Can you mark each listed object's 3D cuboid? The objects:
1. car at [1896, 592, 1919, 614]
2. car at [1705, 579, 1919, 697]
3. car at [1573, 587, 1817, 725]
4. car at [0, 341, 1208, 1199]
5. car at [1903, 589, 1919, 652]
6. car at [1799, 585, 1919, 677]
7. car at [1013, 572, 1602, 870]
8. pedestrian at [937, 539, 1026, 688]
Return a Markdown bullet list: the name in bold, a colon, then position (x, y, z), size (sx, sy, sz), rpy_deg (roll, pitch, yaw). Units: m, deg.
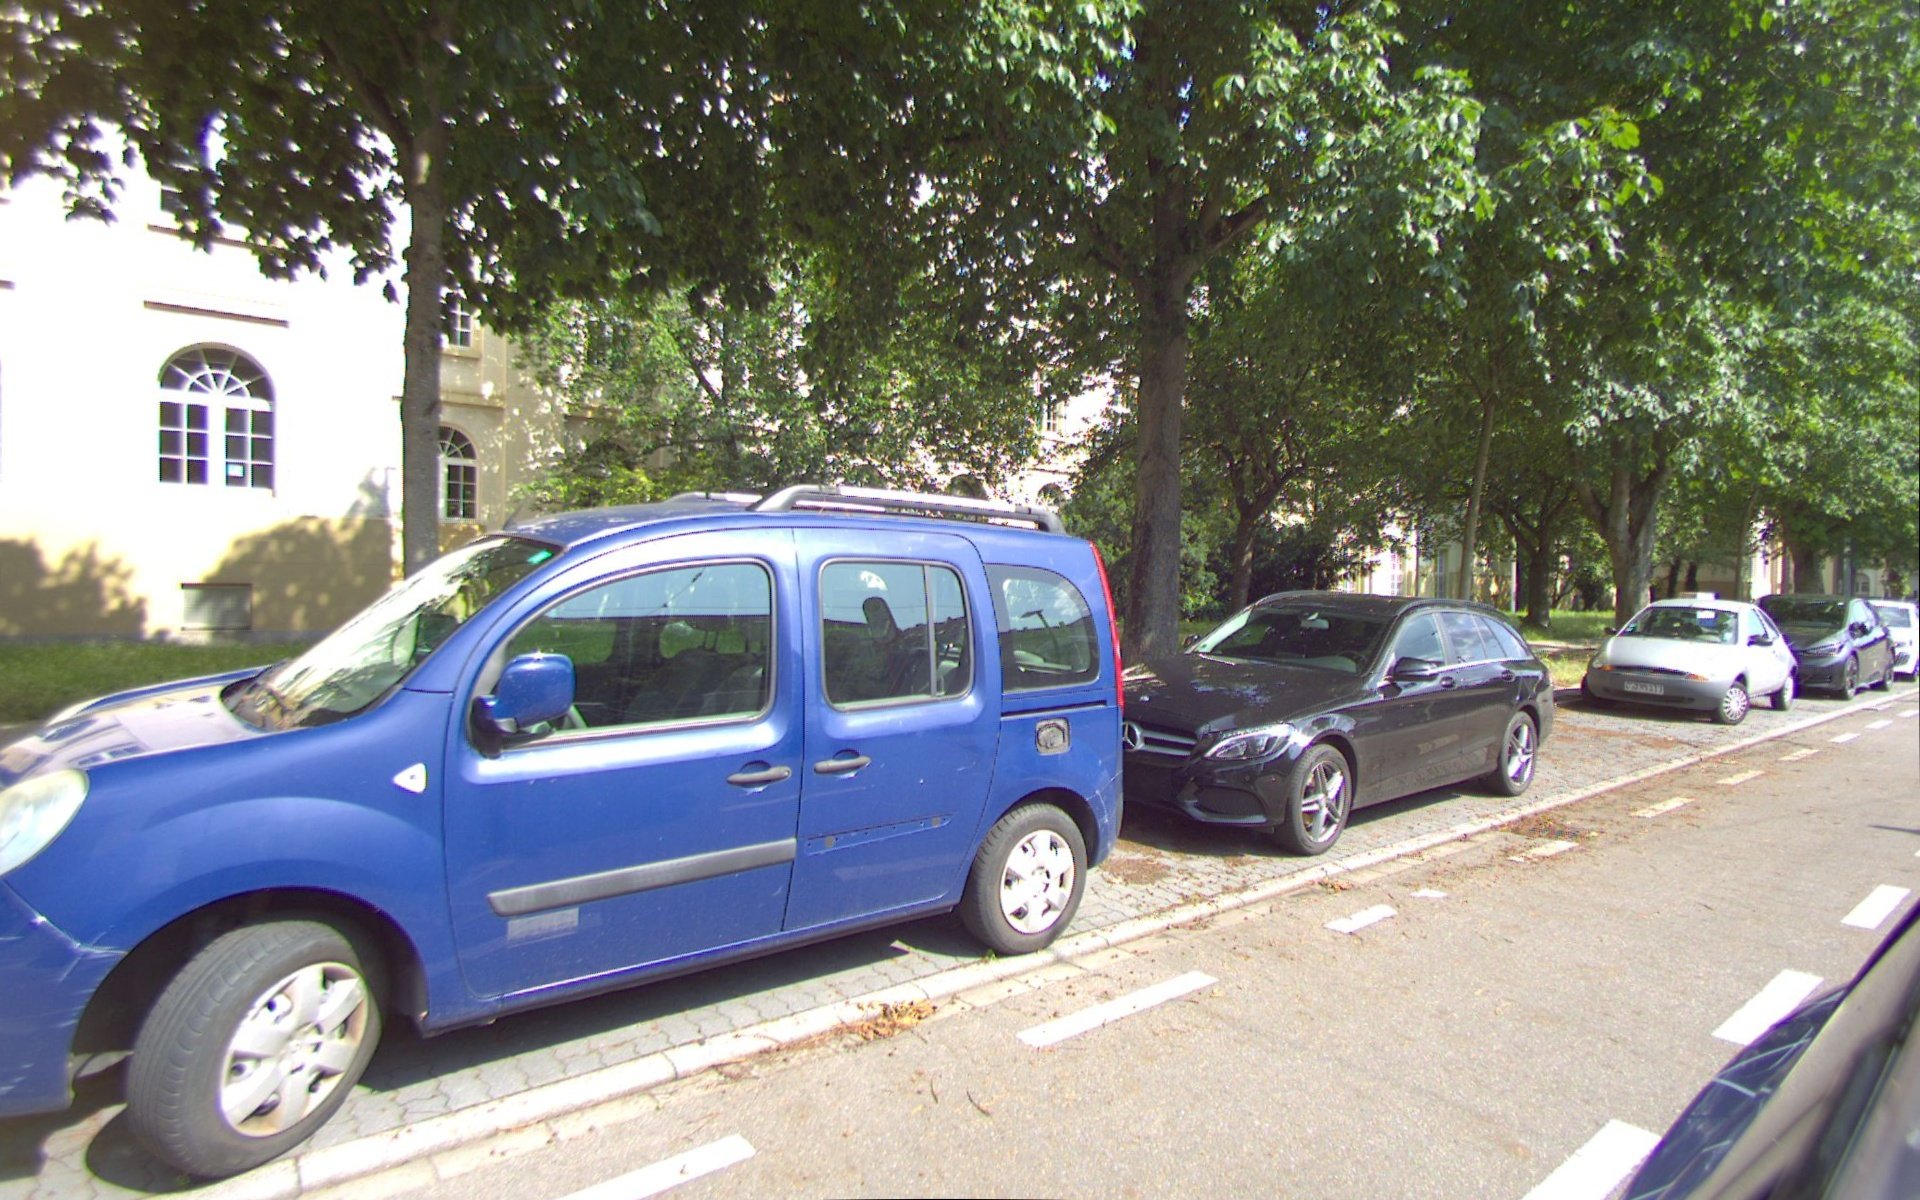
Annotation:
- **car**: position (77.686, 0.233, 80.156), size (1.820, 1.676, 4.843), rpy_deg (-1, 2, -28)
- **car**: position (13.843, 0.525, 16.333), size (4.591, 1.603, 1.730), rpy_deg (0, 2, -38)
- **car**: position (9.473, 0.602, 12.972), size (3.532, 1.462, 1.595), rpy_deg (0, 3, -38)
- **car**: position (-1.119, 0.392, 3.954), size (4.106, 1.919, 1.828), rpy_deg (1, 2, -37)
- **car**: position (24.813, 0.525, 25.157), size (3.497, 1.478, 1.559), rpy_deg (-1, 5, -41)
- **car**: position (18.086, 0.531, 19.833), size (4.179, 1.542, 1.839), rpy_deg (0, 4, -41)
- **car**: position (2.791, 0.618, 7.494), size (4.711, 1.459, 1.922), rpy_deg (0, 3, -40)
- **pedestrian**: position (0.255, 0.145, 12.245), size (0.753, 1.717, 0.746), rpy_deg (0, 1, -38)
